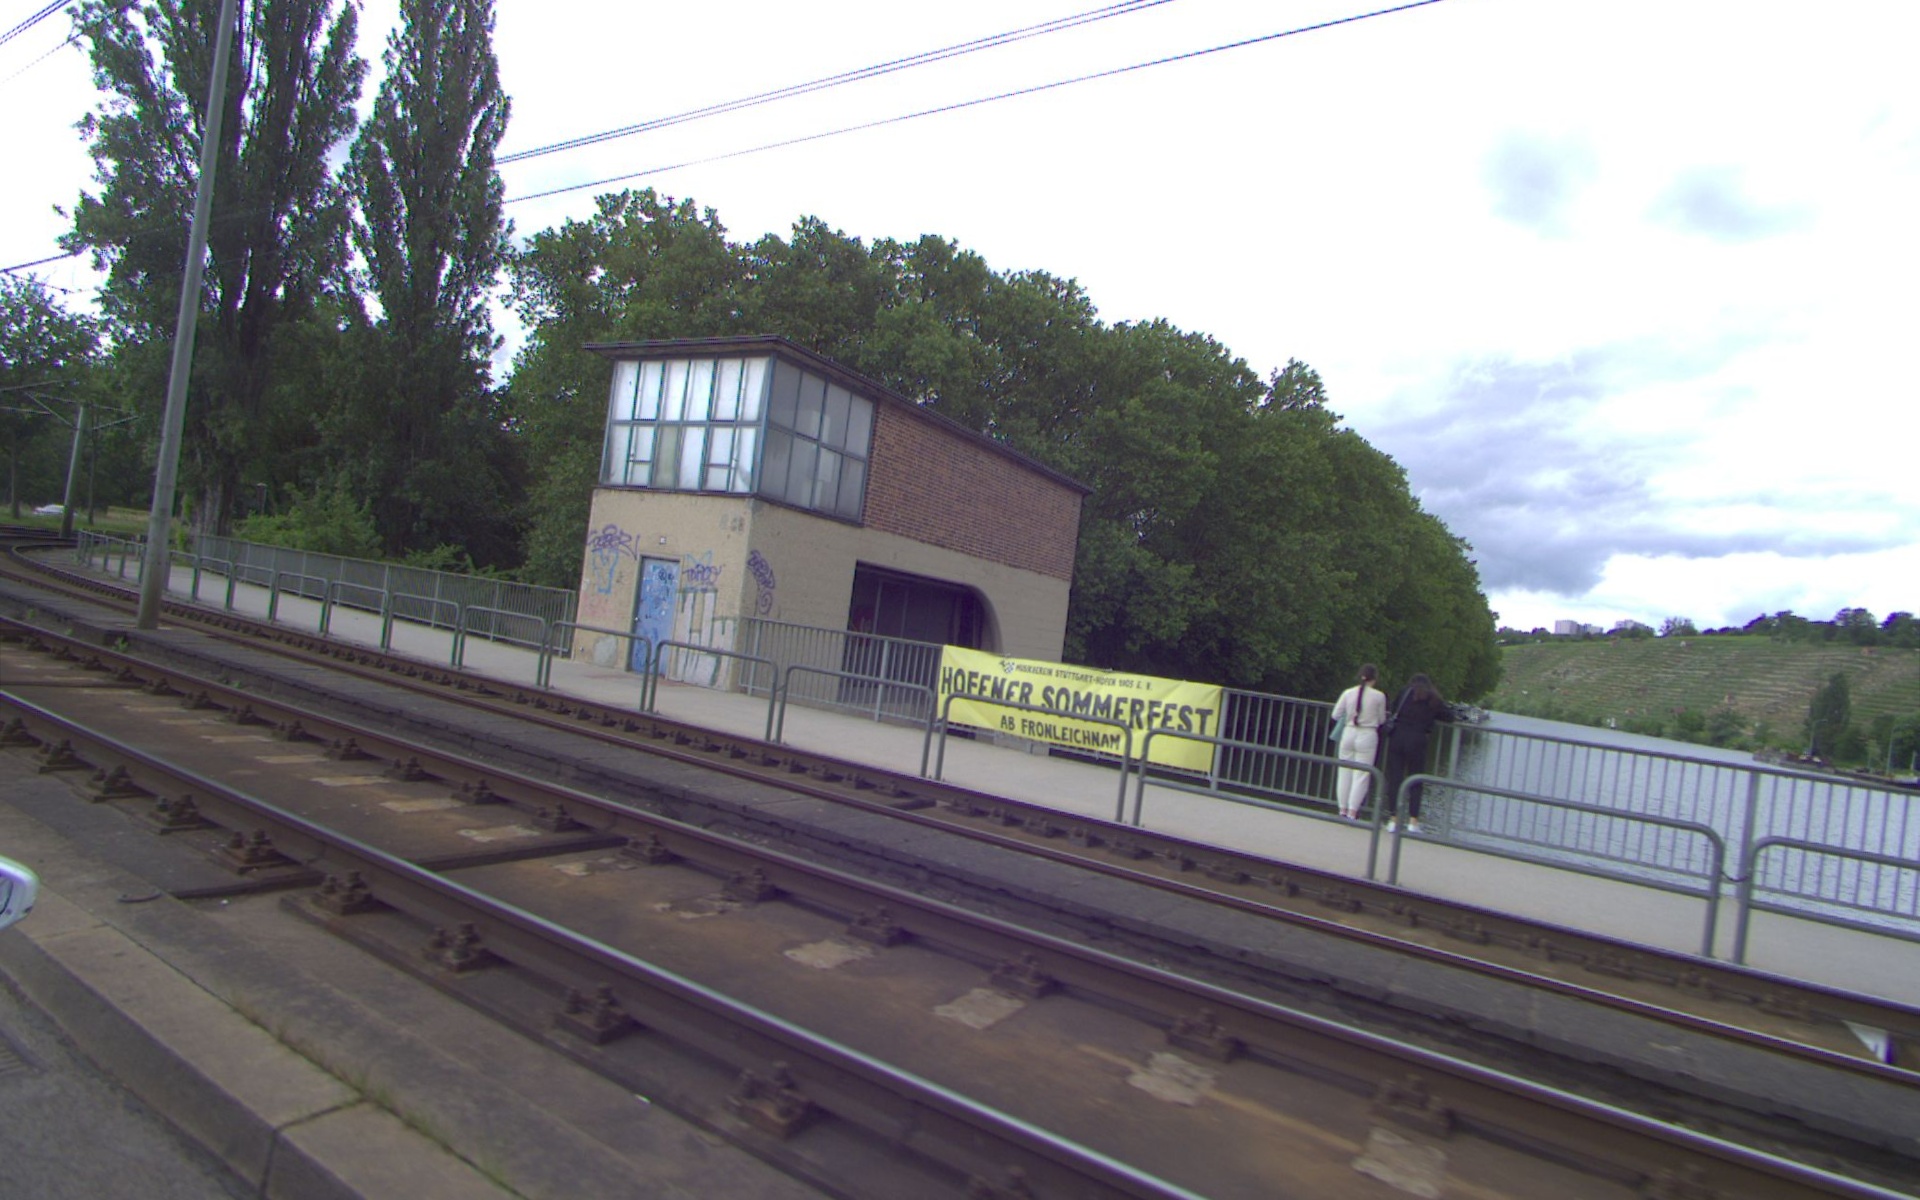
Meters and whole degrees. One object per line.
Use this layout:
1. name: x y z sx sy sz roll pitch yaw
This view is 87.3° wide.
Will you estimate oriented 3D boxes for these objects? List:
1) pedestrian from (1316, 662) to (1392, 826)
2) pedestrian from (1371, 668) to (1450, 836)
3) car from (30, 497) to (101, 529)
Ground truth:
1. pedestrian: 4.164 1.514 10.640 0.344 1.648 0.438 5 3 -40
2. pedestrian: 4.698 1.572 10.505 0.329 1.669 0.454 5 3 -40
3. car: -59.824 -5.789 67.354 1.775 1.733 3.975 7 1 -14
